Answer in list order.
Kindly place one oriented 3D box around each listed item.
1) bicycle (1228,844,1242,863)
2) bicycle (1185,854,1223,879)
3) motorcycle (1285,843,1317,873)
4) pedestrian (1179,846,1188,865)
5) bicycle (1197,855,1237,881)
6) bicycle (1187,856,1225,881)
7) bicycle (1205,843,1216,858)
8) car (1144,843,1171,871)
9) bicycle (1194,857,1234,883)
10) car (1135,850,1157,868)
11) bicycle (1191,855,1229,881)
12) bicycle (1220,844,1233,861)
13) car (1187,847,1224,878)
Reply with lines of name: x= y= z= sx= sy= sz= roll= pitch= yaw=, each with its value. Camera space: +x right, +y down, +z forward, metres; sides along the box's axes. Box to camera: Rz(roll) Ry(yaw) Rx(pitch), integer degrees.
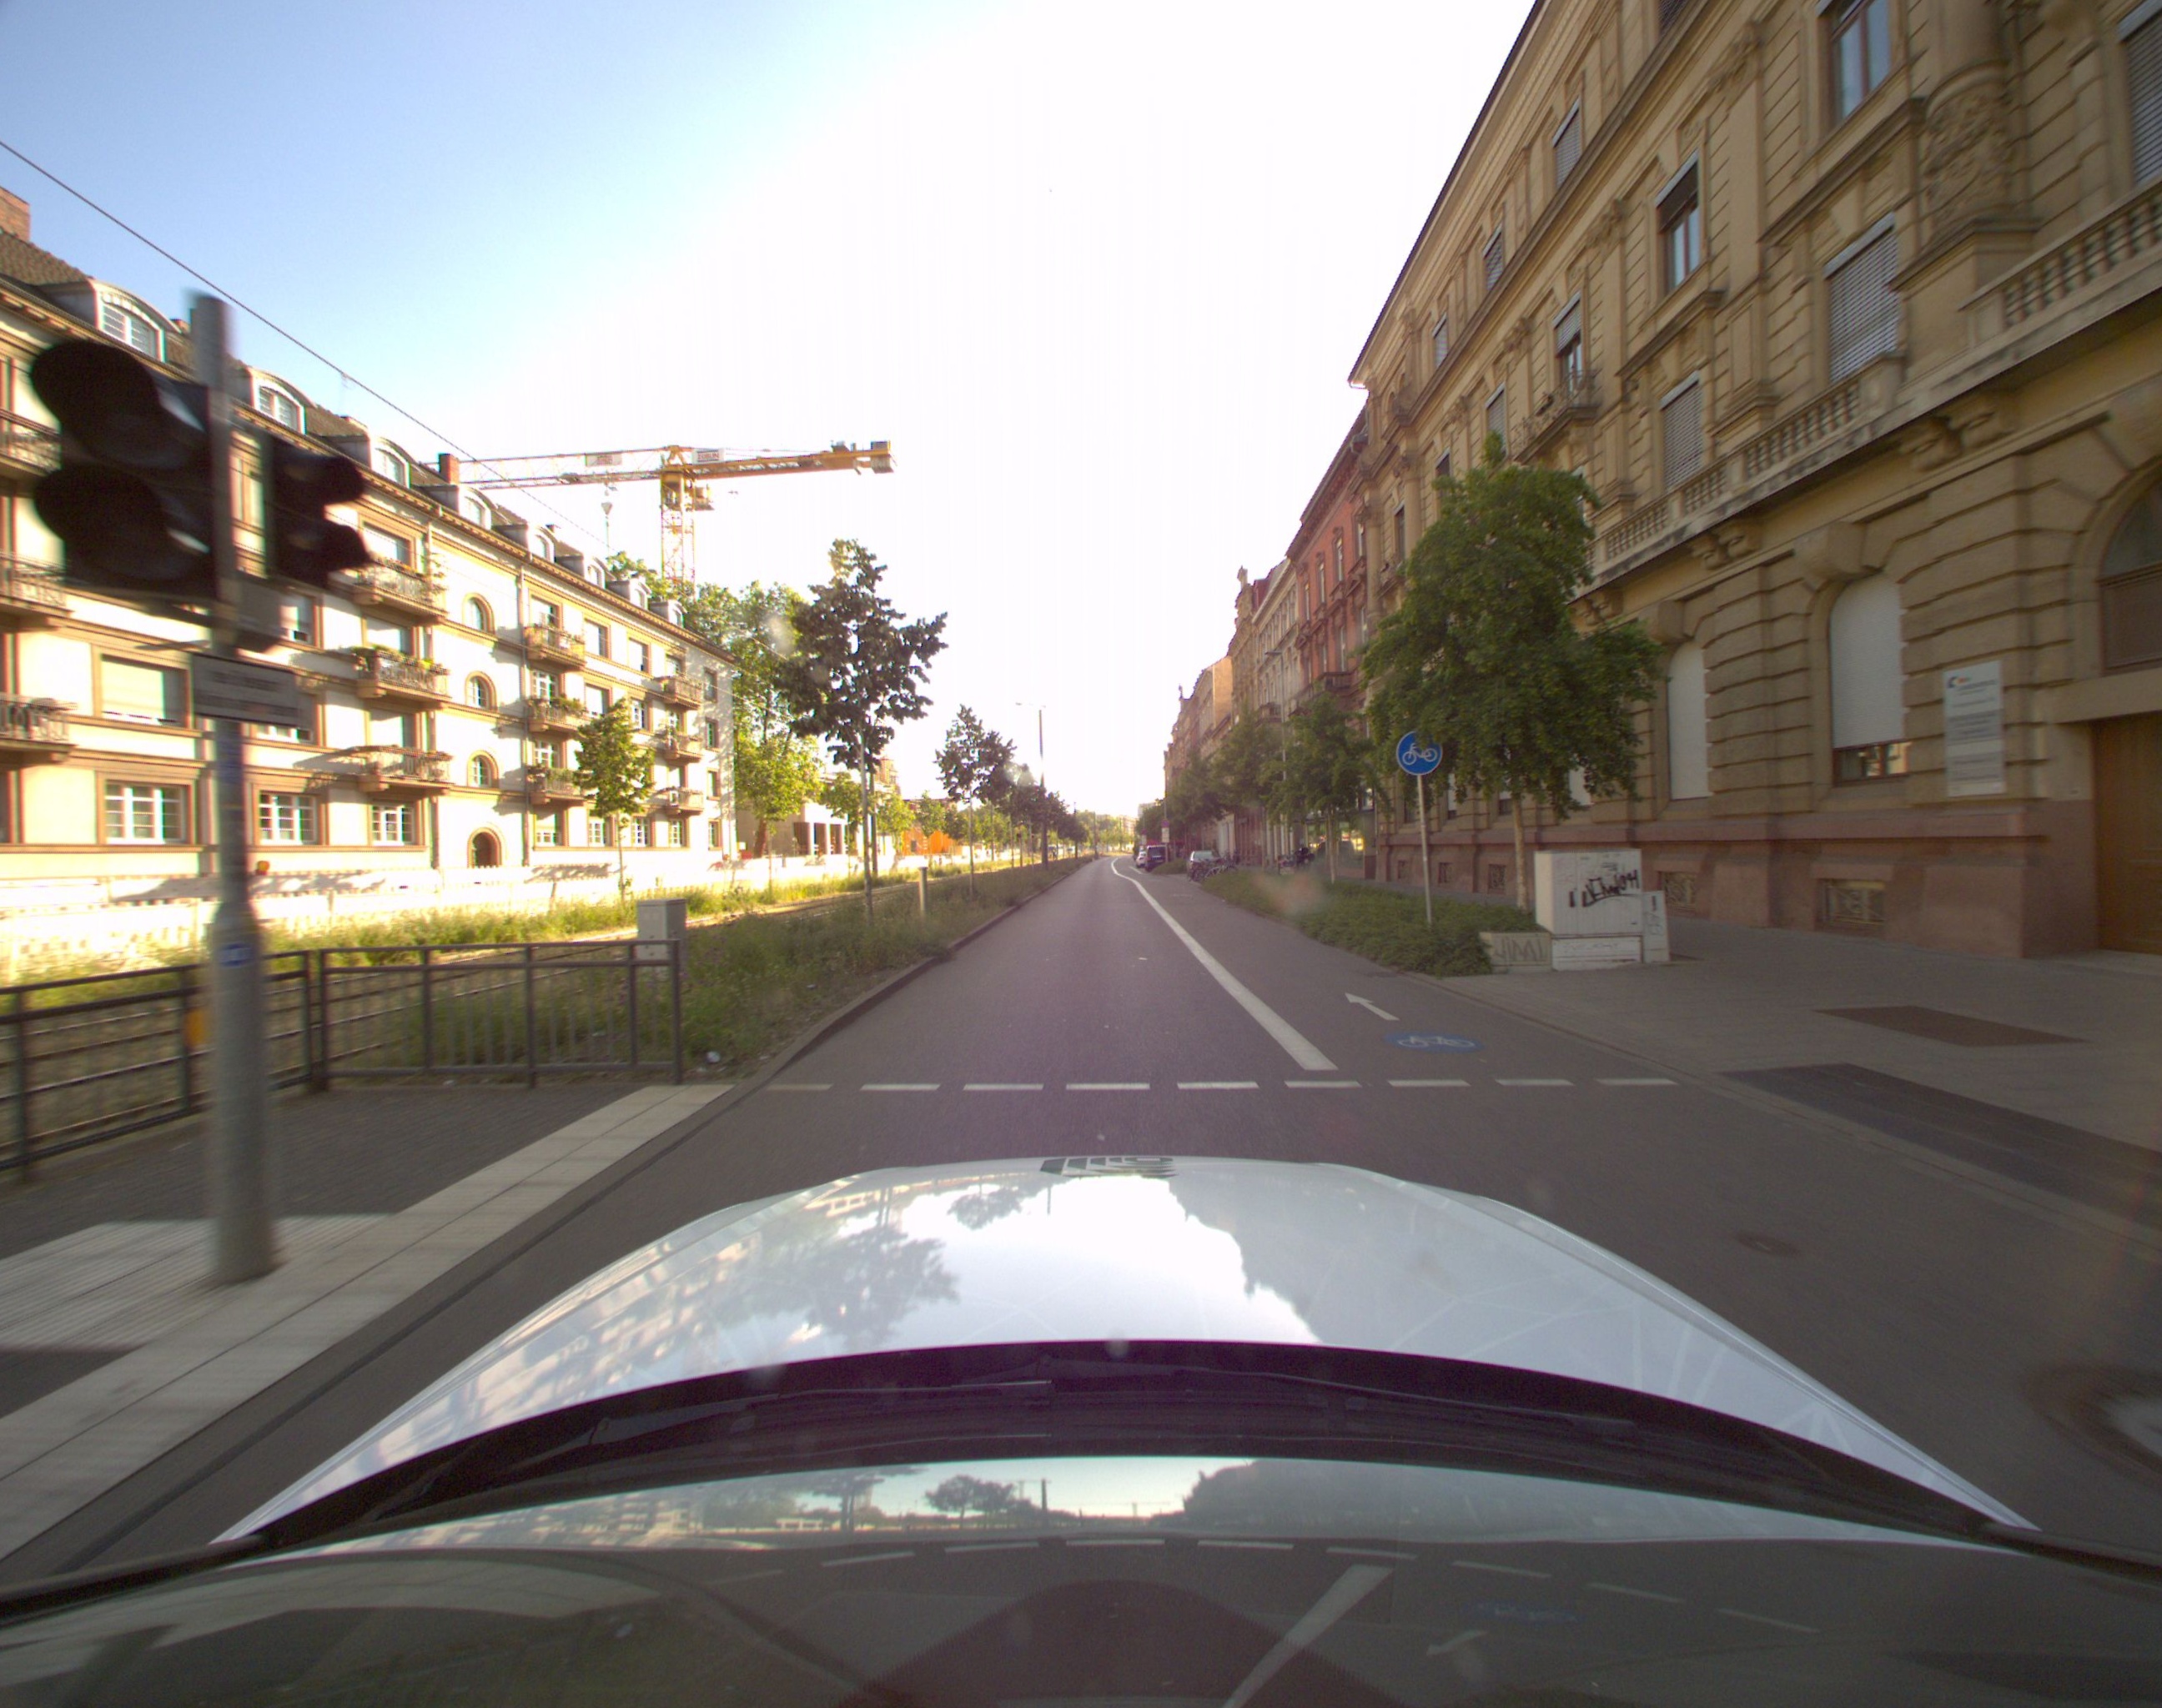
bicycle: x=12.063 y=-0.038 z=63.756 sx=0.658 sy=1.402 sz=2.353 roll=-2 pitch=1 yaw=1
bicycle: x=5.963 y=0.611 z=39.596 sx=1.685 sy=1.048 sz=0.490 roll=-5 pitch=0 yaw=1
motorcycle: x=10.791 y=0.168 z=39.966 sx=0.792 sy=1.308 sz=2.853 roll=-4 pitch=1 yaw=1
pedestrian: x=8.237 y=0.131 z=65.607 sx=0.623 sy=1.459 sz=0.638 roll=-2 pitch=0 yaw=1
bicycle: x=6.130 y=0.646 z=36.721 sx=1.689 sy=1.048 sz=0.488 roll=-4 pitch=0 yaw=-7
bicycle: x=5.885 y=0.669 z=38.418 sx=1.685 sy=1.048 sz=0.490 roll=-5 pitch=0 yaw=1
bicycle: x=12.672 y=-0.383 z=79.593 sx=0.658 sy=1.402 sz=2.353 roll=-2 pitch=1 yaw=1
car: x=5.778 y=0.179 z=61.872 sx=1.877 sy=1.937 sz=4.477 roll=-2 pitch=1 yaw=3
bicycle: x=5.772 y=0.686 z=35.436 sx=1.574 sy=1.048 sz=0.488 roll=-4 pitch=0 yaw=-7
car: x=5.978 y=0.450 z=75.289 sx=1.842 sy=1.457 sz=4.160 roll=-2 pitch=1 yaw=3
bicycle: x=5.912 y=0.643 z=37.262 sx=1.574 sy=1.048 sz=0.488 roll=-4 pitch=0 yaw=-7
bicycle: x=12.157 y=-0.133 z=68.219 sx=0.658 sy=1.402 sz=2.353 roll=-2 pitch=1 yaw=1
car: x=6.842 y=0.445 z=45.224 sx=1.630 sy=1.486 sz=4.217 roll=-4 pitch=1 yaw=4
